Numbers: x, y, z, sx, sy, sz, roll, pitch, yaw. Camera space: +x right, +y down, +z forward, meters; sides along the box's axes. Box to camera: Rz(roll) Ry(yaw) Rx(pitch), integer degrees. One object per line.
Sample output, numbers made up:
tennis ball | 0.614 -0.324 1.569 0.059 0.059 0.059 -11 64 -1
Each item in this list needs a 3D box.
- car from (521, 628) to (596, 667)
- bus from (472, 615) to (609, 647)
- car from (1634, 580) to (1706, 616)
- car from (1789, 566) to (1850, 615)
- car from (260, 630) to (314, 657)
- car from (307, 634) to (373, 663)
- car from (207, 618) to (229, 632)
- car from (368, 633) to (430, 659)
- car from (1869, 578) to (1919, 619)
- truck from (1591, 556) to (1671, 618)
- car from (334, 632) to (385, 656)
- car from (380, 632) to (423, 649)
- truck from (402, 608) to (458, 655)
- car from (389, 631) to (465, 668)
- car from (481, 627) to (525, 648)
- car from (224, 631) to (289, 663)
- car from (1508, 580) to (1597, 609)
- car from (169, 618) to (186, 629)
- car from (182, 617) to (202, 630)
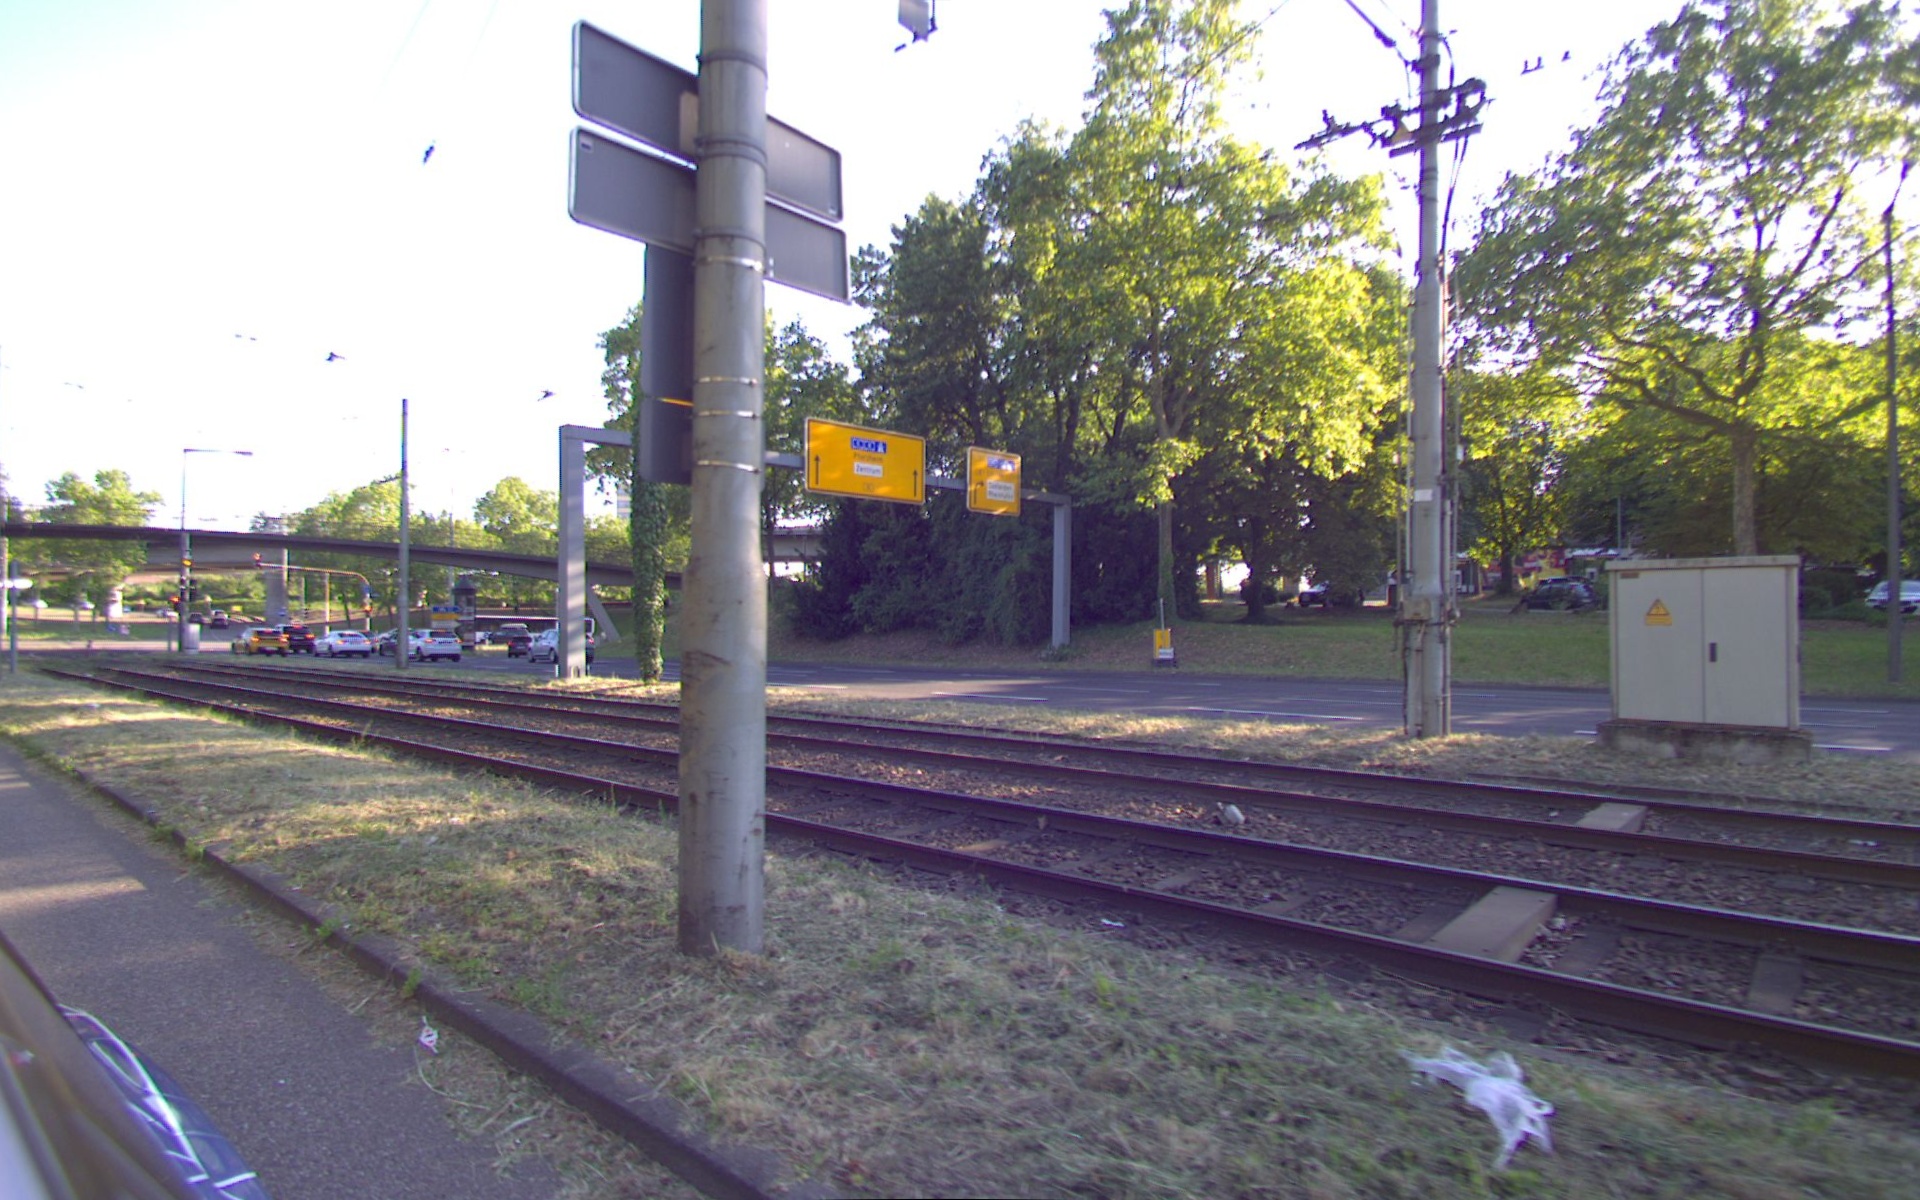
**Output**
car | -17.460 2.028 43.900 1.786 1.556 4.005 0 -2 -41
bus | -43.404 3.171 104.951 12.964 2.884 2.425 -1 -1 -25
car | 31.355 -0.080 44.654 1.942 1.521 4.038 -1 0 45
car | 42.102 -0.455 49.639 2.161 2.321 4.348 -1 0 40
car | -40.168 2.554 60.368 4.228 1.561 1.892 -2 -2 44
car | -32.821 2.516 53.543 4.226 1.435 1.893 -2 -2 42
car | -93.038 3.110 126.817 1.806 1.630 3.986 -1 0 -42
car | -32.427 2.627 58.445 4.224 1.435 1.844 -2 -2 41
car | 36.713 -0.076 39.278 1.942 1.521 4.038 -1 0 45
truck | 36.995 -0.699 55.718 2.503 3.191 6.137 -1 0 45
car | -38.911 2.814 65.535 1.891 1.435 4.230 0 -2 -44
car | -55.058 3.976 99.822 3.592 1.523 1.668 -1 -1 -28
truck | -34.981 2.039 66.653 2.248 2.901 6.896 0 -2 -36
car | -24.207 2.212 45.915 3.998 1.556 1.744 -2 -2 41
car | -44.817 3.692 99.298 3.748 1.872 1.682 -1 0 -30
car | -35.578 2.359 51.144 3.998 1.556 1.744 -2 -2 41
car | 30.993 -0.297 53.003 3.726 1.474 1.650 0 0 44
car | -124.943 3.720 161.535 1.806 1.630 3.986 -1 0 -42
car | -103.283 3.112 136.057 1.806 1.630 3.986 -1 0 -42
